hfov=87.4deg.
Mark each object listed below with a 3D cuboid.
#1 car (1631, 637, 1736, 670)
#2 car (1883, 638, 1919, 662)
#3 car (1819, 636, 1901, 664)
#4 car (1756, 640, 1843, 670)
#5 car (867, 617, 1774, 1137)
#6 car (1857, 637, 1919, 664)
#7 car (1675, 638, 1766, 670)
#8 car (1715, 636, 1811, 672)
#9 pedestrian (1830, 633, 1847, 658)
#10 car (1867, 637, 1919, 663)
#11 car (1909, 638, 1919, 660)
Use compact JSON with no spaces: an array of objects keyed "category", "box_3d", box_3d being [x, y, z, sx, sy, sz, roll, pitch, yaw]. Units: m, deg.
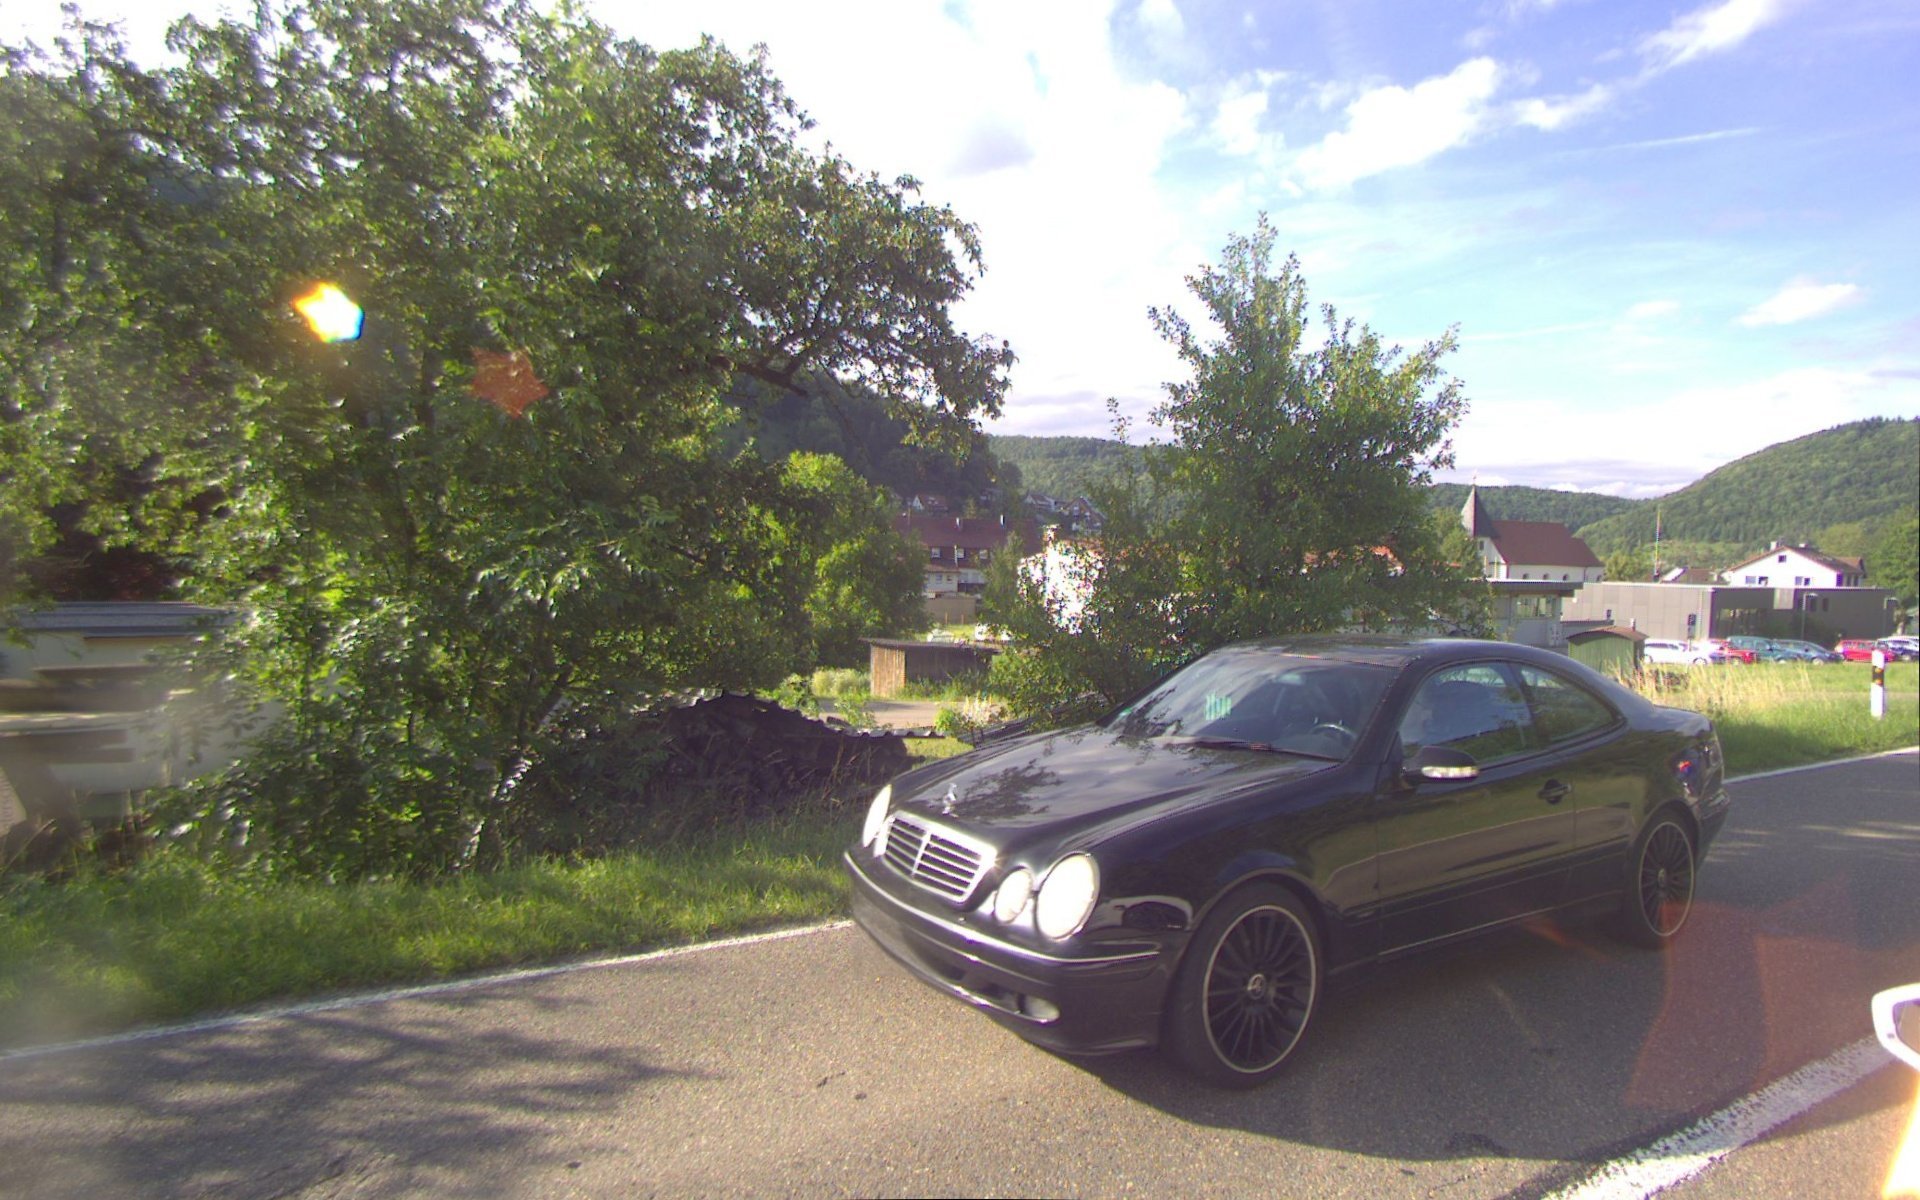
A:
[{"category":"car","box_3d":[43.100,3.161,59.938,1.979,1.733,4.702,2,0,-33]},{"category":"car","box_3d":[73.570,3.840,76.838,1.979,1.733,3.963,2,0,-33]},{"category":"car","box_3d":[63.700,3.511,71.170,1.979,1.733,3.963,2,0,-33]},{"category":"car","box_3d":[54.716,3.541,65.511,1.979,1.733,3.963,2,0,-33]},{"category":"car","box_3d":[1.807,0.822,4.506,4.156,1.372,1.585,2,0,-32]},{"category":"car","box_3d":[67.974,3.648,72.828,1.979,1.733,3.963,2,0,-33]},{"category":"car","box_3d":[46.097,3.256,60.965,1.979,1.733,3.963,2,0,-33]},{"category":"car","box_3d":[51.035,3.422,63.886,1.979,2.034,4.379,2,0,-33]},{"category":"pedestrian","box_3d":[73.009,3.816,83.497,0.962,2.040,0.820,2,0,-32]},{"category":"car","box_3d":[70.780,3.747,75.180,1.979,1.733,3.963,2,0,-33]},{"category":"car","box_3d":[78.426,4.004,79.863,1.979,1.733,3.963,2,0,-33]}]
